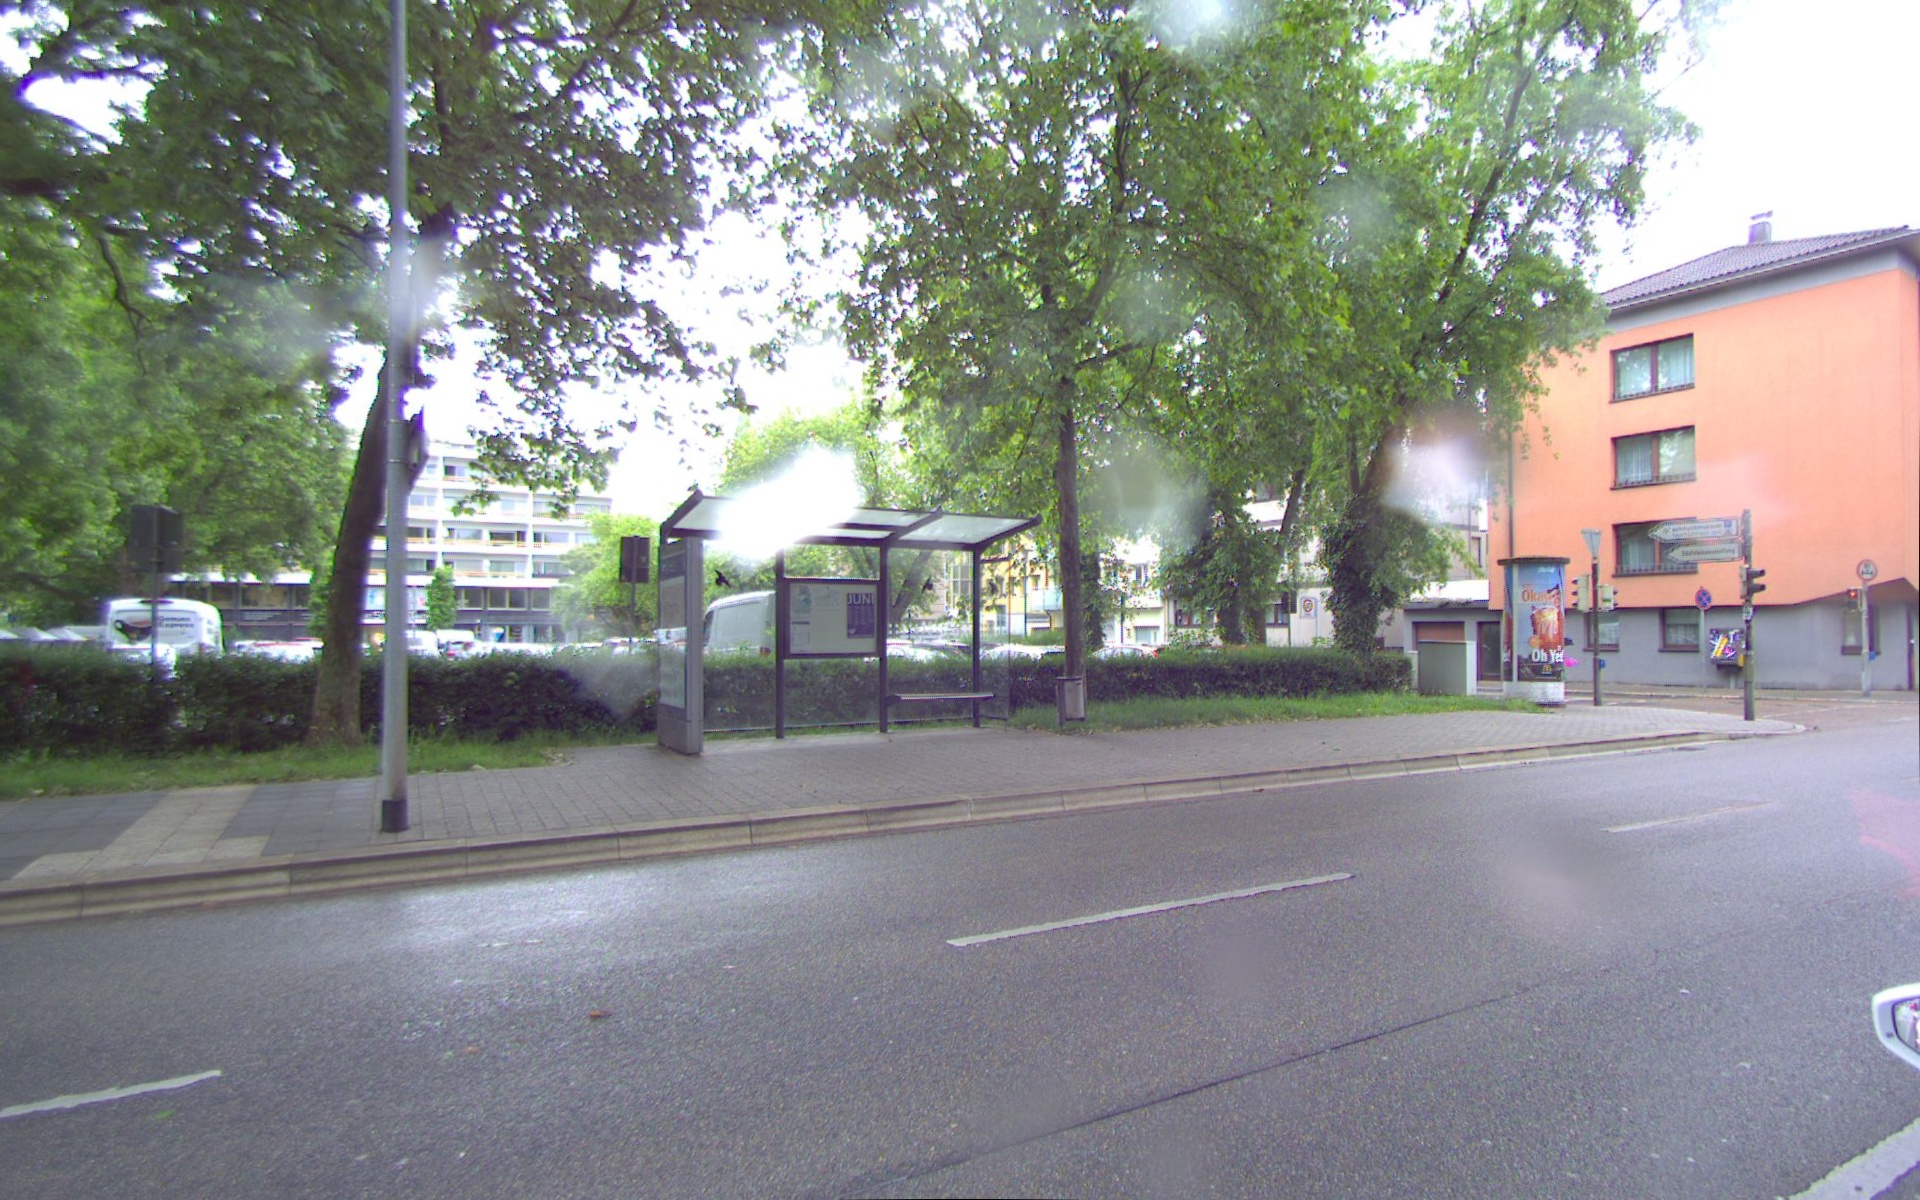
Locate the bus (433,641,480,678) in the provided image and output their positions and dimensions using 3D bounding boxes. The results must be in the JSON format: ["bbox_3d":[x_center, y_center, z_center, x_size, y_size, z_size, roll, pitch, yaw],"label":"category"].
[{"bbox_3d":[-22.365,2.612,44.566,1.587,1.559,3.403,2,-3,-30],"label":"bus"}]

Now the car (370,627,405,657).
[{"bbox_3d":[-33.036,2.402,57.910,1.622,1.544,3.174,1,1,-32],"label":"car"}]

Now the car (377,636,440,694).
[{"bbox_3d":[-14.726,1.712,26.846,1.375,1.454,3.248,1,-3,-29],"label":"car"}]

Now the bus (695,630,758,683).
[{"bbox_3d":[-7.823,1.866,33.518,1.363,1.698,2.779,1,-3,-28],"label":"bus"}]

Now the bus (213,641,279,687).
[{"bbox_3d":[-25.542,2.273,36.011,1.587,1.559,3.403,2,-3,-30],"label":"bus"}]

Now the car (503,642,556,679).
[{"bbox_3d":[-17.689,2.455,41.233,1.587,1.447,3.293,2,-3,-30],"label":"car"}]

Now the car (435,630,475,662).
[{"bbox_3d":[-27.200,2.459,54.030,1.622,1.544,3.174,2,0,-32],"label":"car"}]

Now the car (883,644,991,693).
[{"bbox_3d":[-0.826,2.227,33.513,1.799,1.536,3.965,2,-3,-33],"label":"car"}]

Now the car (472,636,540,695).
[{"bbox_3d":[-12.083,1.712,26.644,1.375,1.454,3.248,1,-3,-29],"label":"car"}]

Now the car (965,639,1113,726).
[{"bbox_3d":[1.590,1.660,21.166,1.492,1.544,3.174,2,0,-32],"label":"car"}]

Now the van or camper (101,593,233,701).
[{"bbox_3d":[-20.691,1.236,26.417,2.074,2.570,4.392,1,-3,-30],"label":"van or camper"}]

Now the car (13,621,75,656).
[{"bbox_3d":[-40.868,1.694,44.866,1.412,1.447,2.941,1,0,-30],"label":"car"}]

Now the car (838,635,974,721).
[{"bbox_3d":[-1.204,1.576,21.182,1.492,1.544,3.174,2,0,-32],"label":"car"}]

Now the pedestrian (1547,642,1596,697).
[{"bbox_3d":[13.951,1.581,22.948,0.672,1.190,0.827,1,0,9],"label":"pedestrian"}]

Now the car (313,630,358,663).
[{"bbox_3d":[-31.414,2.314,50.579,1.818,1.444,3.799,2,0,-31],"label":"car"}]

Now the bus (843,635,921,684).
[{"bbox_3d":[-2.468,1.853,31.438,1.364,1.451,2.777,2,-3,-30],"label":"bus"}]

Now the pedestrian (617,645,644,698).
[{"bbox_3d":[-7.857,1.700,23.935,0.462,1.229,0.434,2,0,-37],"label":"pedestrian"}]

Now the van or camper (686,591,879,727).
[{"bbox_3d":[-3.423,1.058,18.688,2.026,2.198,4.458,2,-3,-32],"label":"van or camper"}]

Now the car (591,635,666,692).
[{"bbox_3d":[-9.105,1.714,27.501,1.375,1.454,3.248,1,-3,-29],"label":"car"}]

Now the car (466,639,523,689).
[{"bbox_3d":[-14.535,1.964,31.275,1.375,1.454,3.248,1,-3,-29],"label":"car"}]

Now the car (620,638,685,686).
[{"bbox_3d":[-9.986,1.968,32.469,1.375,1.454,3.248,1,-3,-29],"label":"car"}]

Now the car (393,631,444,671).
[{"bbox_3d":[-20.894,1.947,38.683,1.587,1.447,3.293,2,-3,-30],"label":"car"}]

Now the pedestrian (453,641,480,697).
[{"bbox_3d":[-11.252,1.563,22.914,0.462,1.229,0.434,2,0,-37],"label":"pedestrian"}]

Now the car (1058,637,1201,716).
[{"bbox_3d":[3.811,1.685,23.036,1.492,1.544,3.174,2,0,-32],"label":"car"}]

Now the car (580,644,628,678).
[{"bbox_3d":[-15.190,2.581,42.824,1.332,1.401,3.141,2,-3,-30],"label":"car"}]

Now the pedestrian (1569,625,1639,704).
[{"bbox_3d":[15.015,1.479,23.459,0.975,1.765,1.210,1,0,13],"label":"pedestrian"}]

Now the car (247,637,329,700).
[{"bbox_3d":[-16.504,1.648,24.785,1.375,1.454,3.248,1,-3,-29],"label":"car"}]

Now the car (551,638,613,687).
[{"bbox_3d":[-11.951,1.954,31.676,1.375,1.454,3.248,1,-3,-29],"label":"car"}]
